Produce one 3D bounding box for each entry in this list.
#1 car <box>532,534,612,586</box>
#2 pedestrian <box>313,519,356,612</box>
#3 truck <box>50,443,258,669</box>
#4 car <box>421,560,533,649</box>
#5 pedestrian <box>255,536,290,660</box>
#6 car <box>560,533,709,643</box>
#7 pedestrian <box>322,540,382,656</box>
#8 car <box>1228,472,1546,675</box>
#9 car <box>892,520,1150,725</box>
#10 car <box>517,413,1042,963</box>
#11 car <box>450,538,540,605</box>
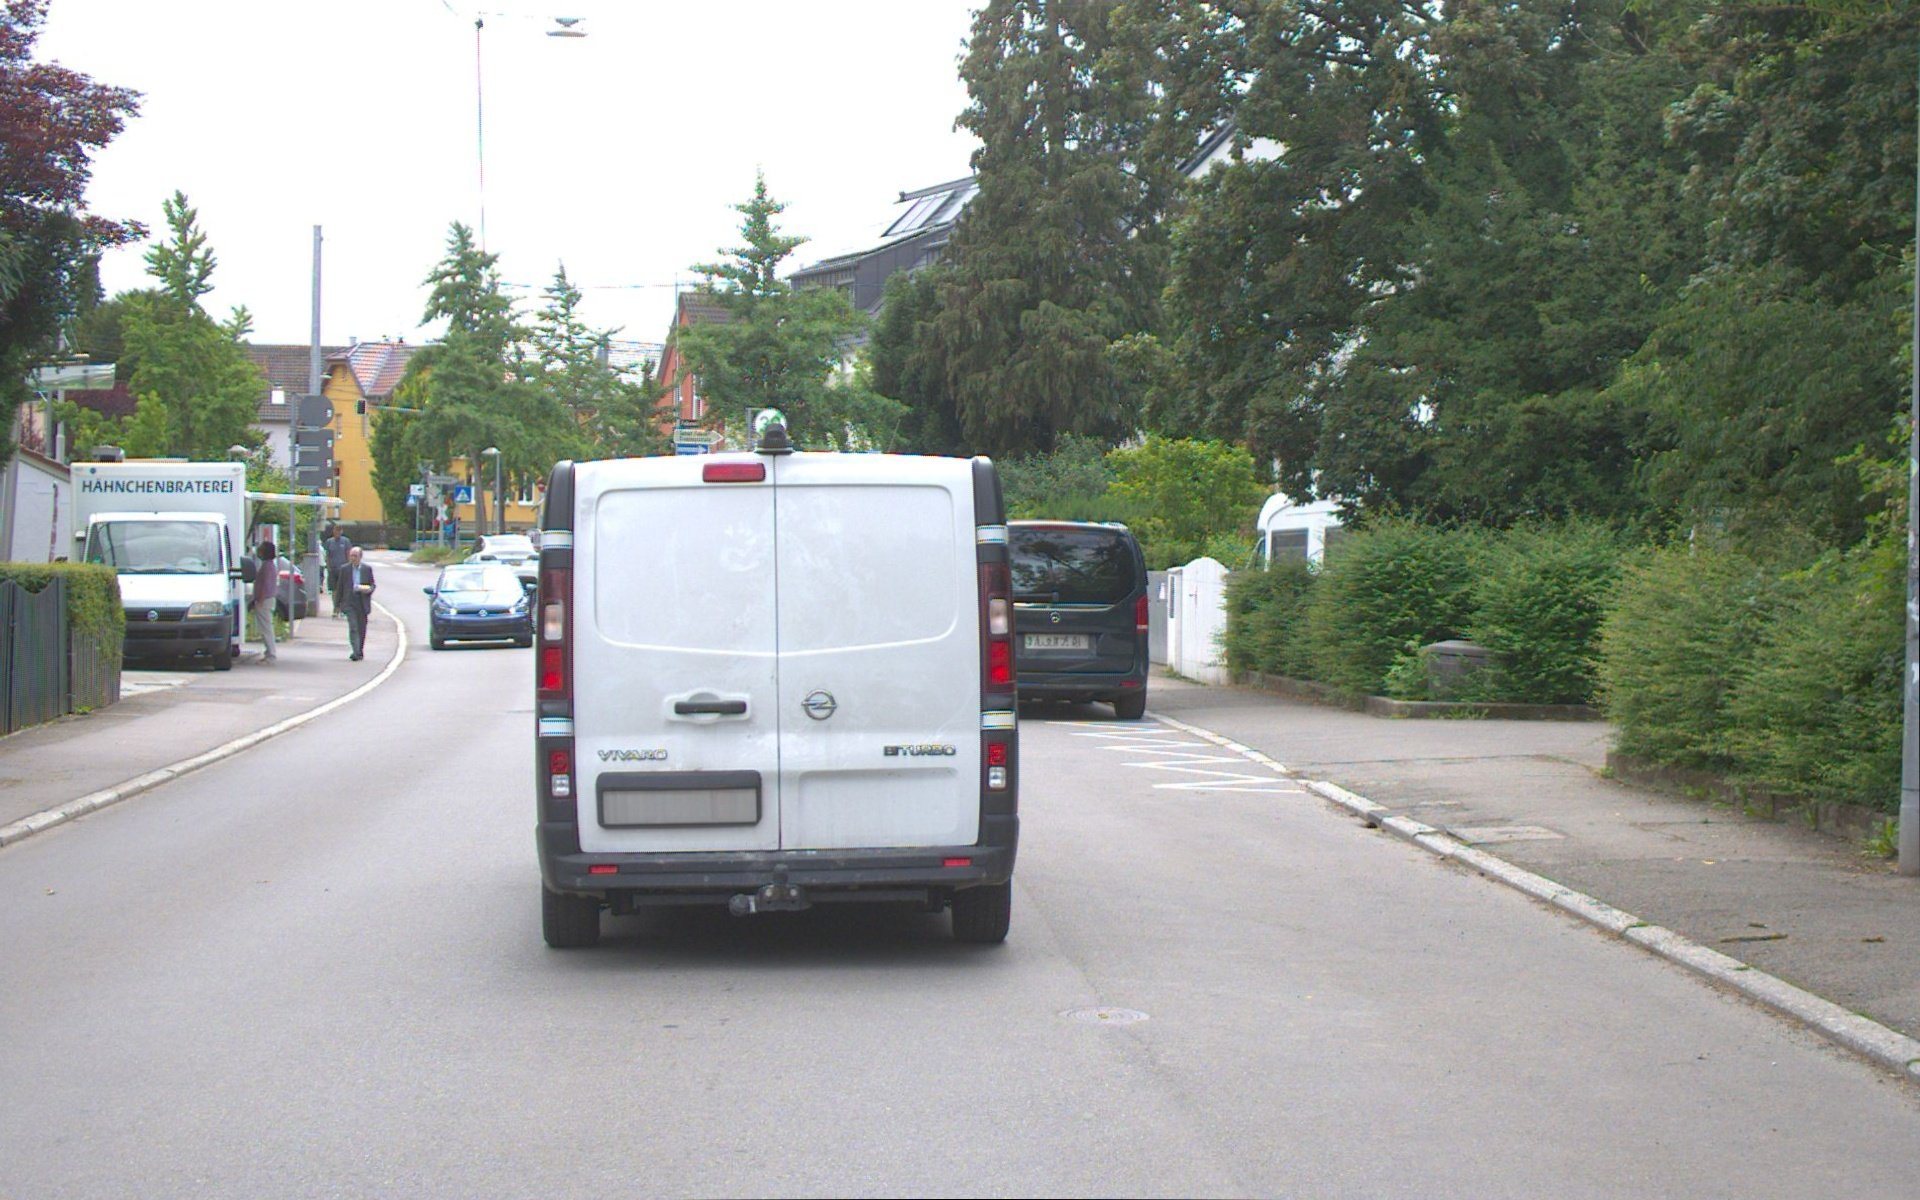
[{"bbox_3d":[-11.916,-1.231,105.396,1.741,1.489,3.656,3,0,-17],"label":"car"},{"bbox_3d":[-13.349,-0.738,73.374,0.733,1.939,1.218,3,0,-6],"label":"pedestrian"},{"bbox_3d":[-10.918,-0.593,47.031,2.472,2.831,6.709,1,1,-11],"label":"truck"},{"bbox_3d":[-8.409,0.068,60.127,1.693,1.427,3.928,3,0,-5],"label":"car"},{"bbox_3d":[-9.521,-0.029,47.630,0.401,1.689,0.597,3,0,-11],"label":"pedestrian"},{"bbox_3d":[-5.695,-0.230,59.718,1.993,1.842,4.001,0,1,-14],"label":"car"},{"bbox_3d":[-9.029,-0.033,51.051,0.722,1.681,1.109,3,0,-6],"label":"pedestrian"},{"bbox_3d":[6.069,-0.399,49.643,2.496,2.673,5.188,3,0,-18],"label":"car"},{"bbox_3d":[0.511,0.186,33.955,1.908,1.842,5.159,1,0,-6],"label":"car"},{"bbox_3d":[-0.889,0.298,14.766,1.915,1.996,4.438,0,0,-6],"label":"car"},{"bbox_3d":[-12.780,-0.797,94.265,1.993,1.776,4.001,-1,1,-14],"label":"car"}]
